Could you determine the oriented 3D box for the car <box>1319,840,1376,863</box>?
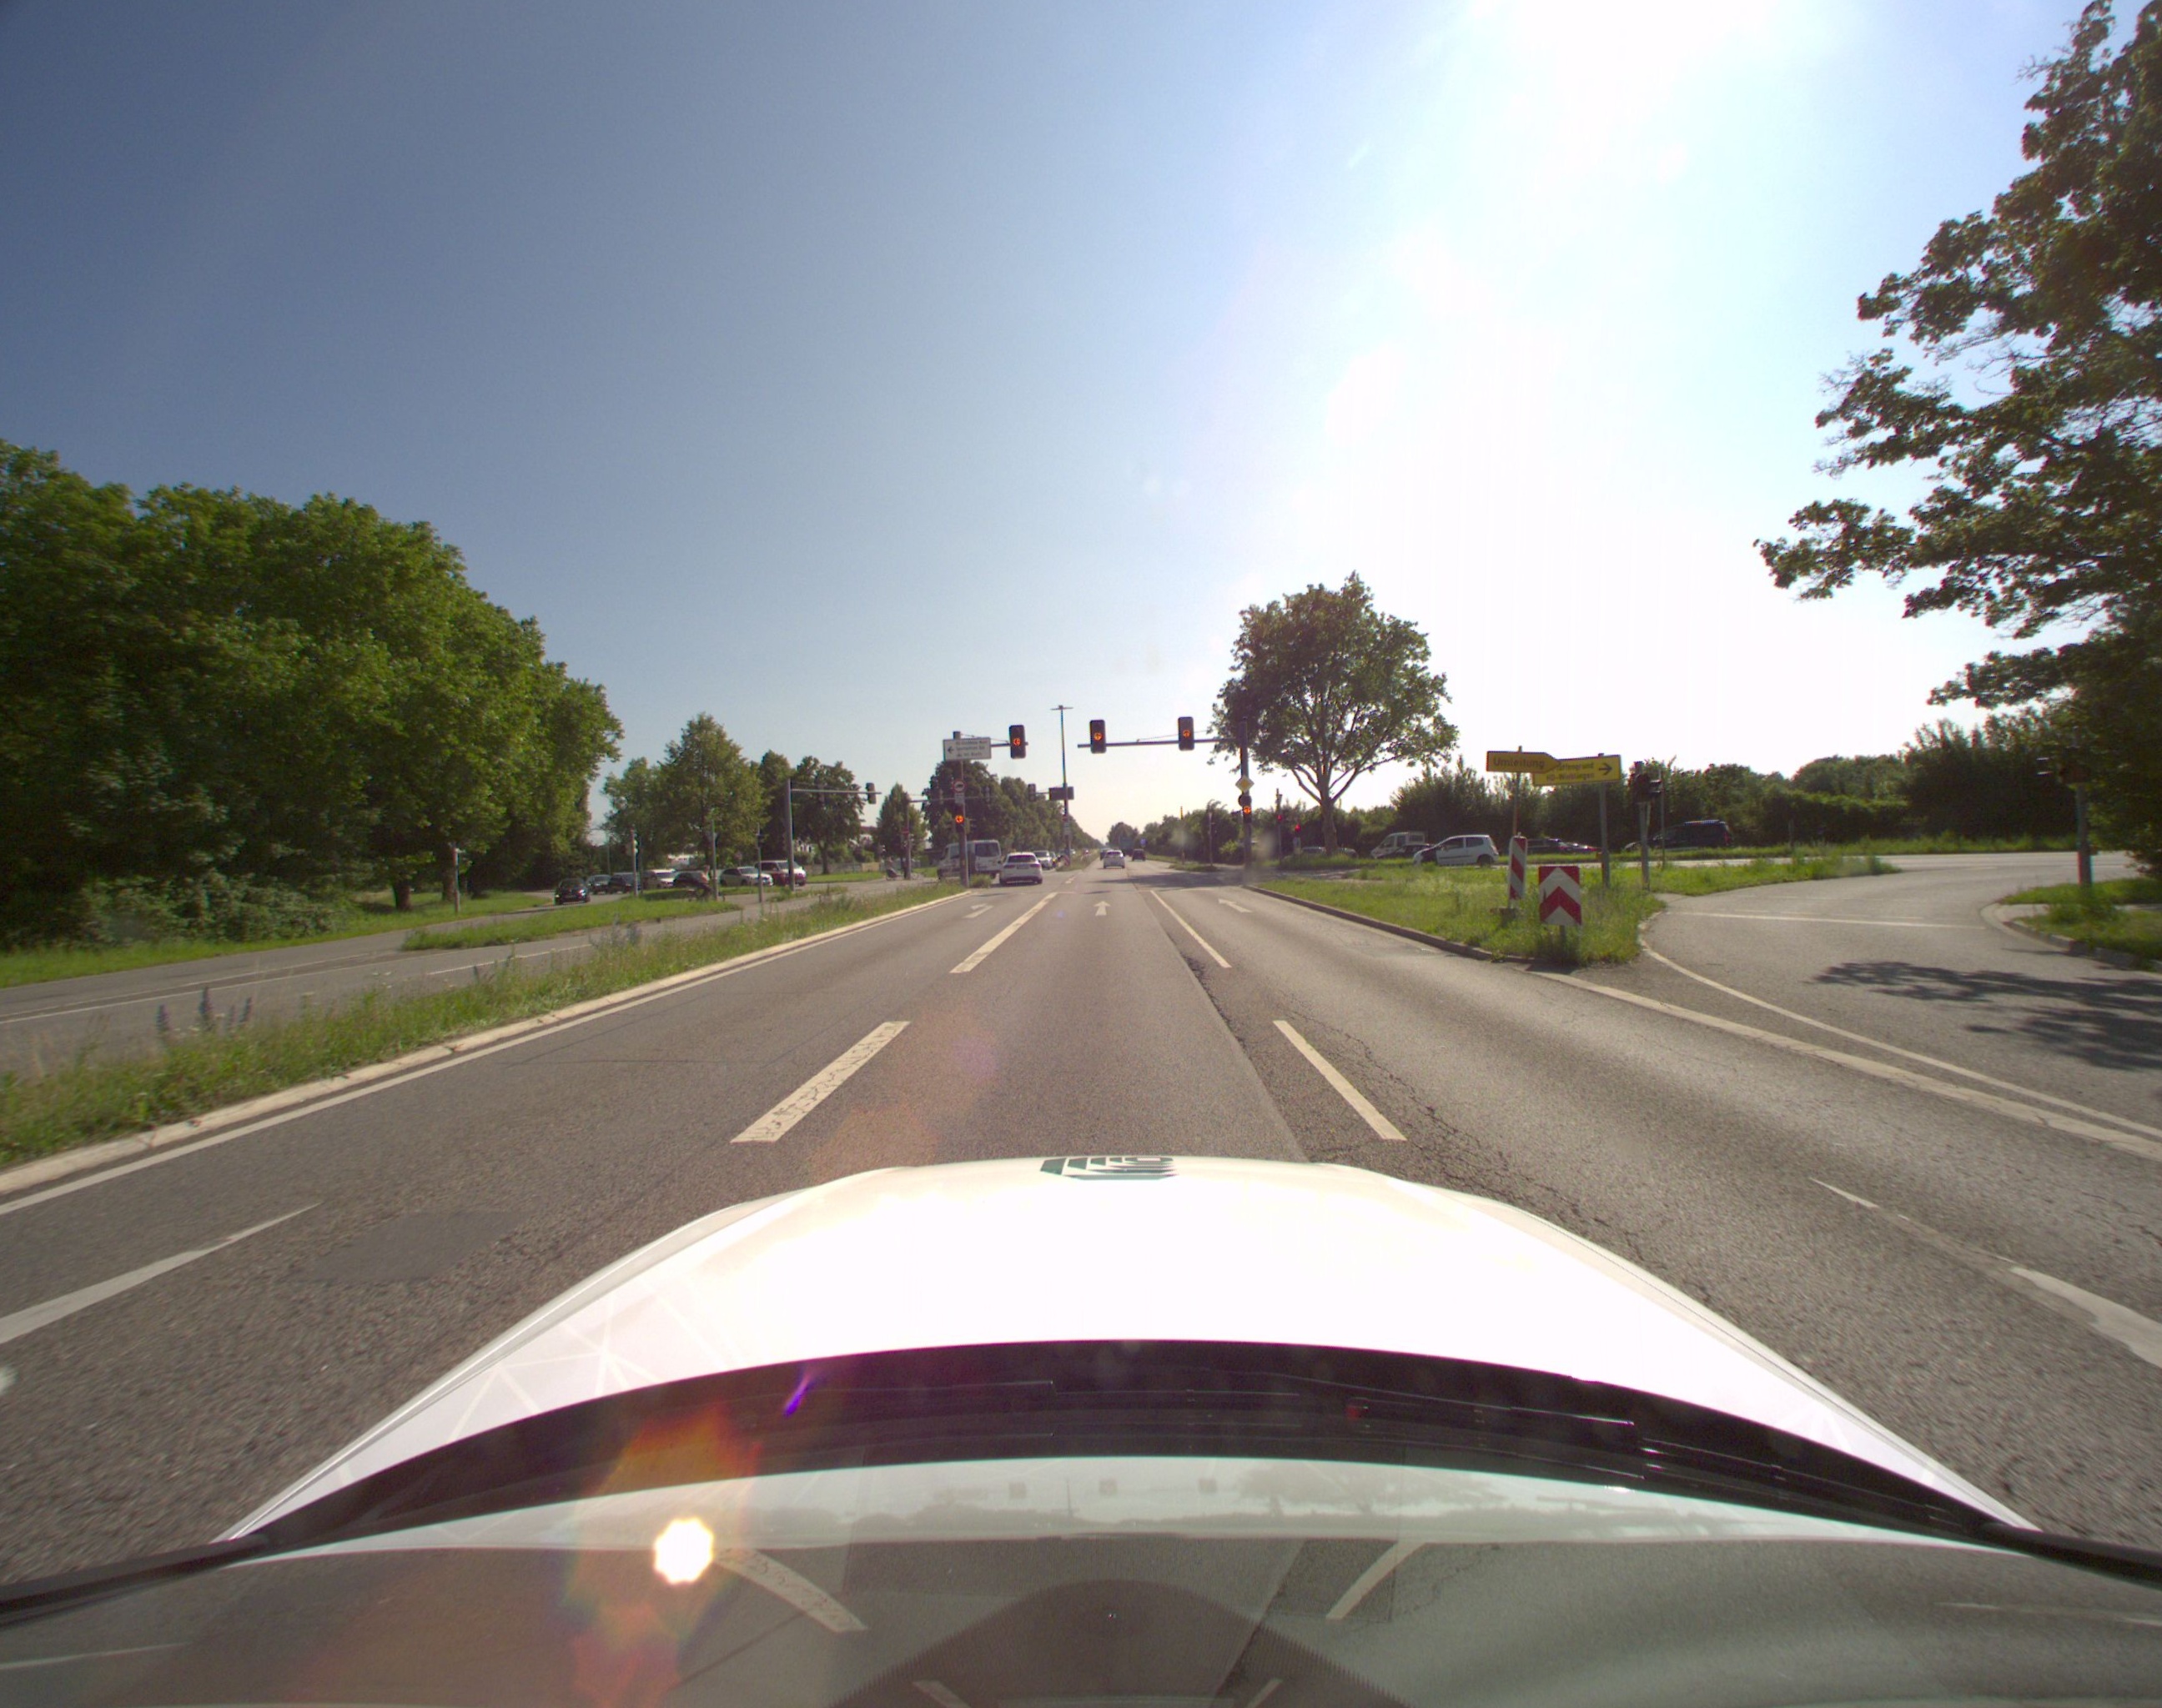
[{"bbox_3d":[18.881,-0.142,57.933,1.625,1.547,3.790,0,-1,-28],"label":"car"}]

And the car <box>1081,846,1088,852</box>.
[{"bbox_3d":[0.926,-1.485,220.831,1.906,1.502,4.092,-2,1,1],"label":"car"}]

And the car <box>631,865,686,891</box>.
[{"bbox_3d":[-32.934,1.899,63.499,4.449,1.800,2.018,-3,0,37],"label":"car"}]

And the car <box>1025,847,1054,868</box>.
[{"bbox_3d":[-3.455,0.243,68.198,2.003,1.610,4.212,-3,0,1],"label":"car"}]

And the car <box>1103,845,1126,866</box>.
[{"bbox_3d":[2.716,0.088,65.108,1.791,1.552,4.003,-1,1,3],"label":"car"}]

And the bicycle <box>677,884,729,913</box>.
[{"bbox_3d":[-14.857,1.744,32.018,1.667,1.041,0.748,-2,1,7],"label":"bicycle"}]

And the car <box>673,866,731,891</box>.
[{"bbox_3d":[-27.586,1.767,59.243,4.212,1.606,2.018,-3,1,37],"label":"car"}]

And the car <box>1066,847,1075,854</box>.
[{"bbox_3d":[-2.358,-0.737,189.840,1.987,1.502,4.092,-2,1,1],"label":"car"}]

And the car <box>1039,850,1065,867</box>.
[{"bbox_3d":[-2.625,0.368,75.010,1.808,1.485,4.900,-1,0,5],"label":"car"}]

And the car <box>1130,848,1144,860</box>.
[{"bbox_3d":[6.880,0.033,99.960,1.566,1.414,3.279,-2,0,2],"label":"car"}]

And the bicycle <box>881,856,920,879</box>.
[{"bbox_3d":[-13.875,1.028,62.601,2.765,1.670,1.143,-3,0,29],"label":"bicycle"}]

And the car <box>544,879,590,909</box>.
[{"bbox_3d":[-30.337,2.320,48.187,2.006,1.495,4.243,-4,1,-29],"label":"car"}]

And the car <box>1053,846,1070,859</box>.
[{"bbox_3d":[-2.503,-0.233,104.279,1.840,1.594,4.618,-3,0,1],"label":"car"}]

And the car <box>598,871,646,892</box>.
[{"bbox_3d":[-37.938,2.305,67.256,4.072,1.512,1.932,-3,1,37],"label":"car"}]

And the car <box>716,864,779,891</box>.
[{"bbox_3d":[-22.804,1.601,55.609,4.212,1.606,2.018,-3,1,37],"label":"car"}]

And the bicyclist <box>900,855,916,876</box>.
[{"bbox_3d":[-13.217,0.878,62.148,0.854,1.618,0.763,-1,0,30],"label":"bicyclist"}]

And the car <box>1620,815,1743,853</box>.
[{"bbox_3d":[28.187,-0.879,38.342,1.898,1.634,4.414,0,-1,-44],"label":"car"}]

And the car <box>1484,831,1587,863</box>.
[{"bbox_3d":[24.309,-0.344,43.694,1.895,1.634,4.419,0,-1,-37],"label":"car"}]

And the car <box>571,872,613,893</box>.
[{"bbox_3d":[-42.491,2.504,70.709,4.214,1.606,2.017,-3,1,44],"label":"car"}]

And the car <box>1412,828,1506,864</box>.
[{"bbox_3d":[17.047,-0.374,36.735,3.708,1.469,1.796,-2,0,27],"label":"car"}]

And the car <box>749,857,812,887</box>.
[{"bbox_3d":[-21.757,1.311,58.965,4.595,1.950,2.013,-3,0,37],"label":"car"}]

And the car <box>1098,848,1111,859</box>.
[{"bbox_3d":[3.034,-0.061,106.186,1.566,1.414,3.279,-2,1,2],"label":"car"}]

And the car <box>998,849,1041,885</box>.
[{"bbox_3d":[-2.851,0.573,38.124,1.809,1.464,4.963,-3,0,-4],"label":"car"}]

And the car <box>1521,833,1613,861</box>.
[{"bbox_3d":[27.099,-0.360,45.513,1.899,1.420,3.955,0,-1,-37],"label":"car"}]

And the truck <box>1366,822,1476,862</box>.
[{"bbox_3d":[21.747,-0.669,52.488,2.353,2.386,6.411,1,-1,-31],"label":"truck"}]

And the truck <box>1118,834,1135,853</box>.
[{"bbox_3d":[8.625,-1.976,154.592,2.880,3.428,9.175,-2,1,2],"label":"truck"}]

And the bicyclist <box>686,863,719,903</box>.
[{"bbox_3d":[-14.872,1.128,32.010,0.842,1.517,0.749,-2,1,7],"label":"bicyclist"}]

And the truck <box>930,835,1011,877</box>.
[{"bbox_3d":[-6.905,0.132,50.324,2.392,2.388,5.975,-3,1,-35],"label":"truck"}]
